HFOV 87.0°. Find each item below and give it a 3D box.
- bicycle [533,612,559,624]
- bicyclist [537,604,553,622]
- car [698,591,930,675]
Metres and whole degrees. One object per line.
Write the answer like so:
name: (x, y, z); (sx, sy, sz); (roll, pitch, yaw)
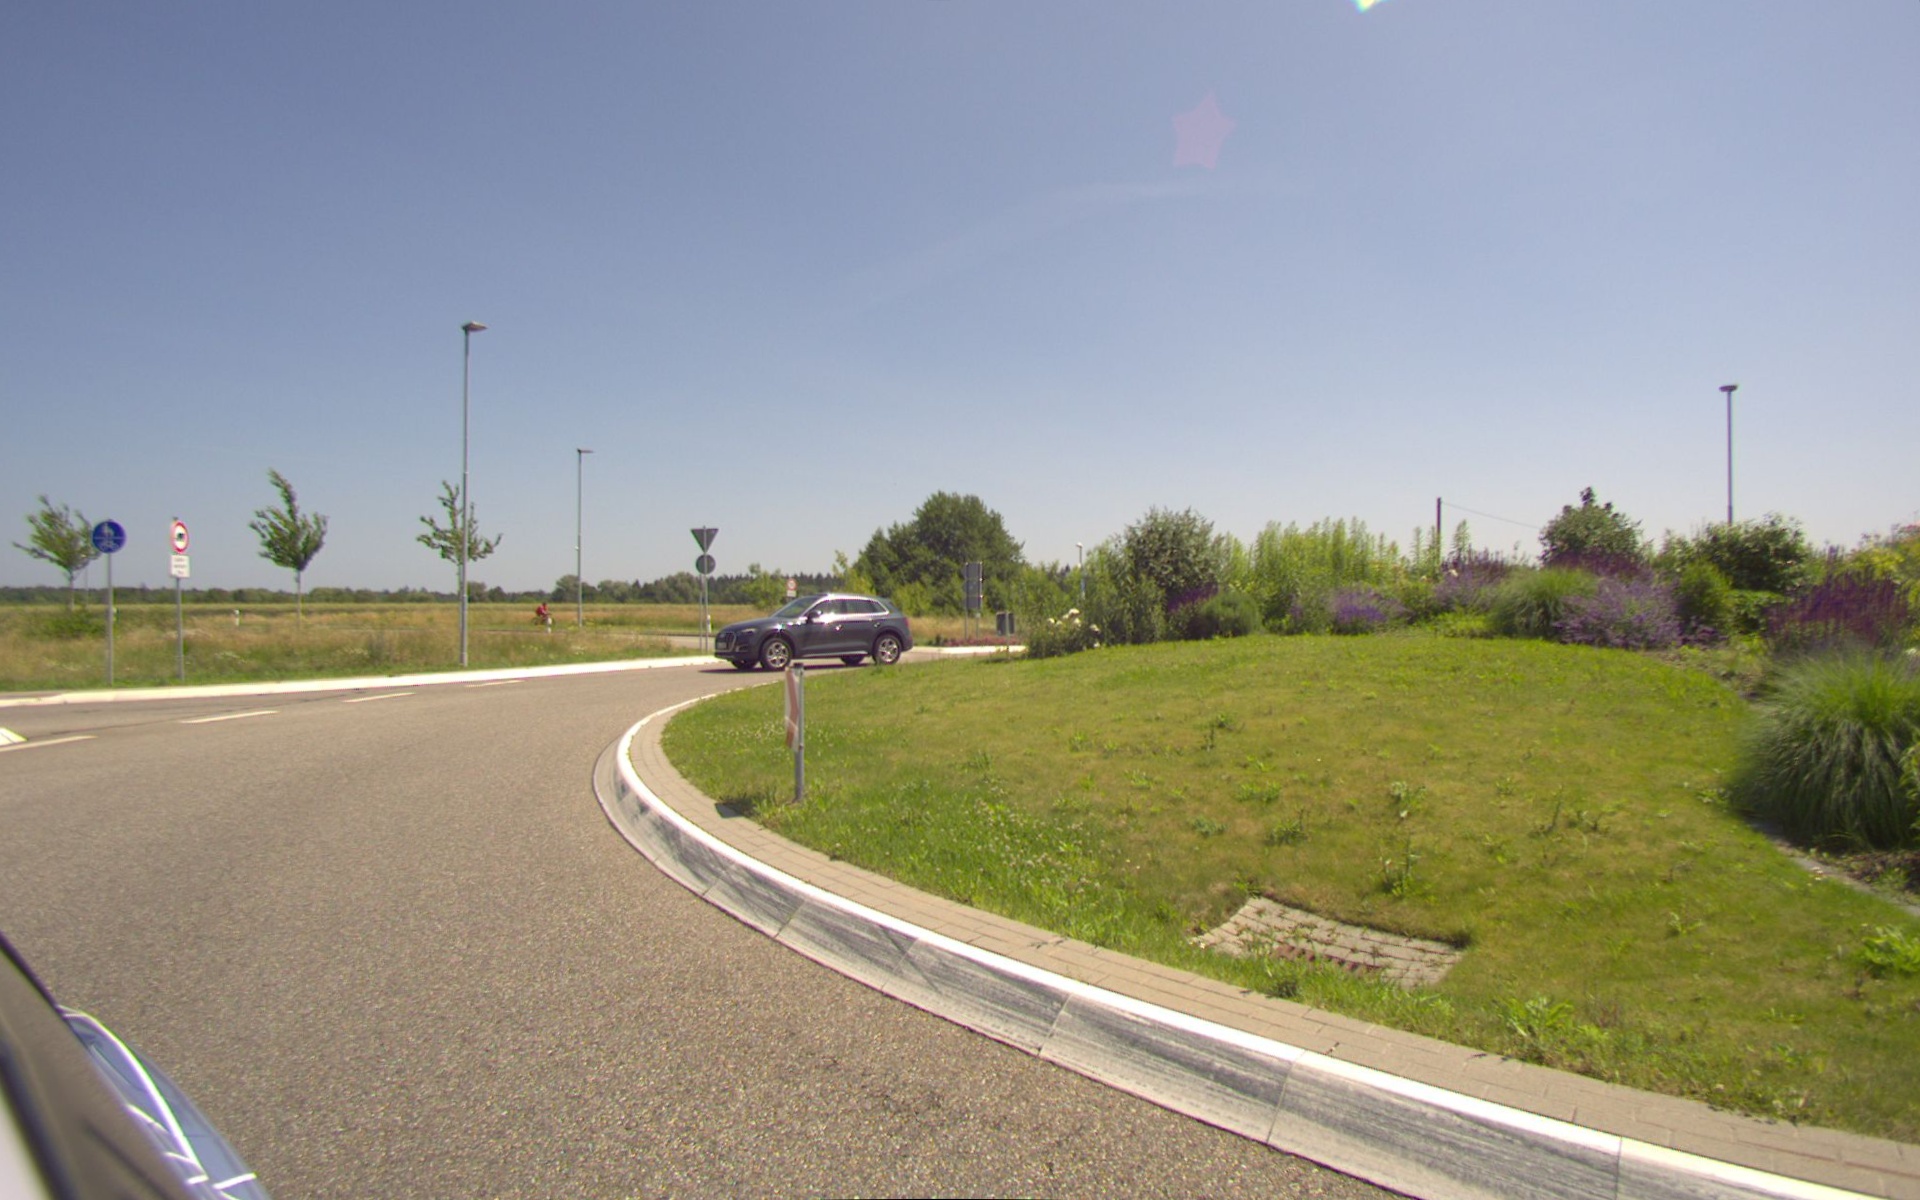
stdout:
bicycle: (-26.245, 1.138, 64.154); (1.453, 0.735, 0.578); (0, -1, 7)
bicyclist: (-26.307, 0.824, 64.173); (0.716, 1.087, 0.578); (0, -1, 6)
car: (-3.256, 0.681, 22.973); (4.808, 1.662, 1.959); (-1, 0, -34)
